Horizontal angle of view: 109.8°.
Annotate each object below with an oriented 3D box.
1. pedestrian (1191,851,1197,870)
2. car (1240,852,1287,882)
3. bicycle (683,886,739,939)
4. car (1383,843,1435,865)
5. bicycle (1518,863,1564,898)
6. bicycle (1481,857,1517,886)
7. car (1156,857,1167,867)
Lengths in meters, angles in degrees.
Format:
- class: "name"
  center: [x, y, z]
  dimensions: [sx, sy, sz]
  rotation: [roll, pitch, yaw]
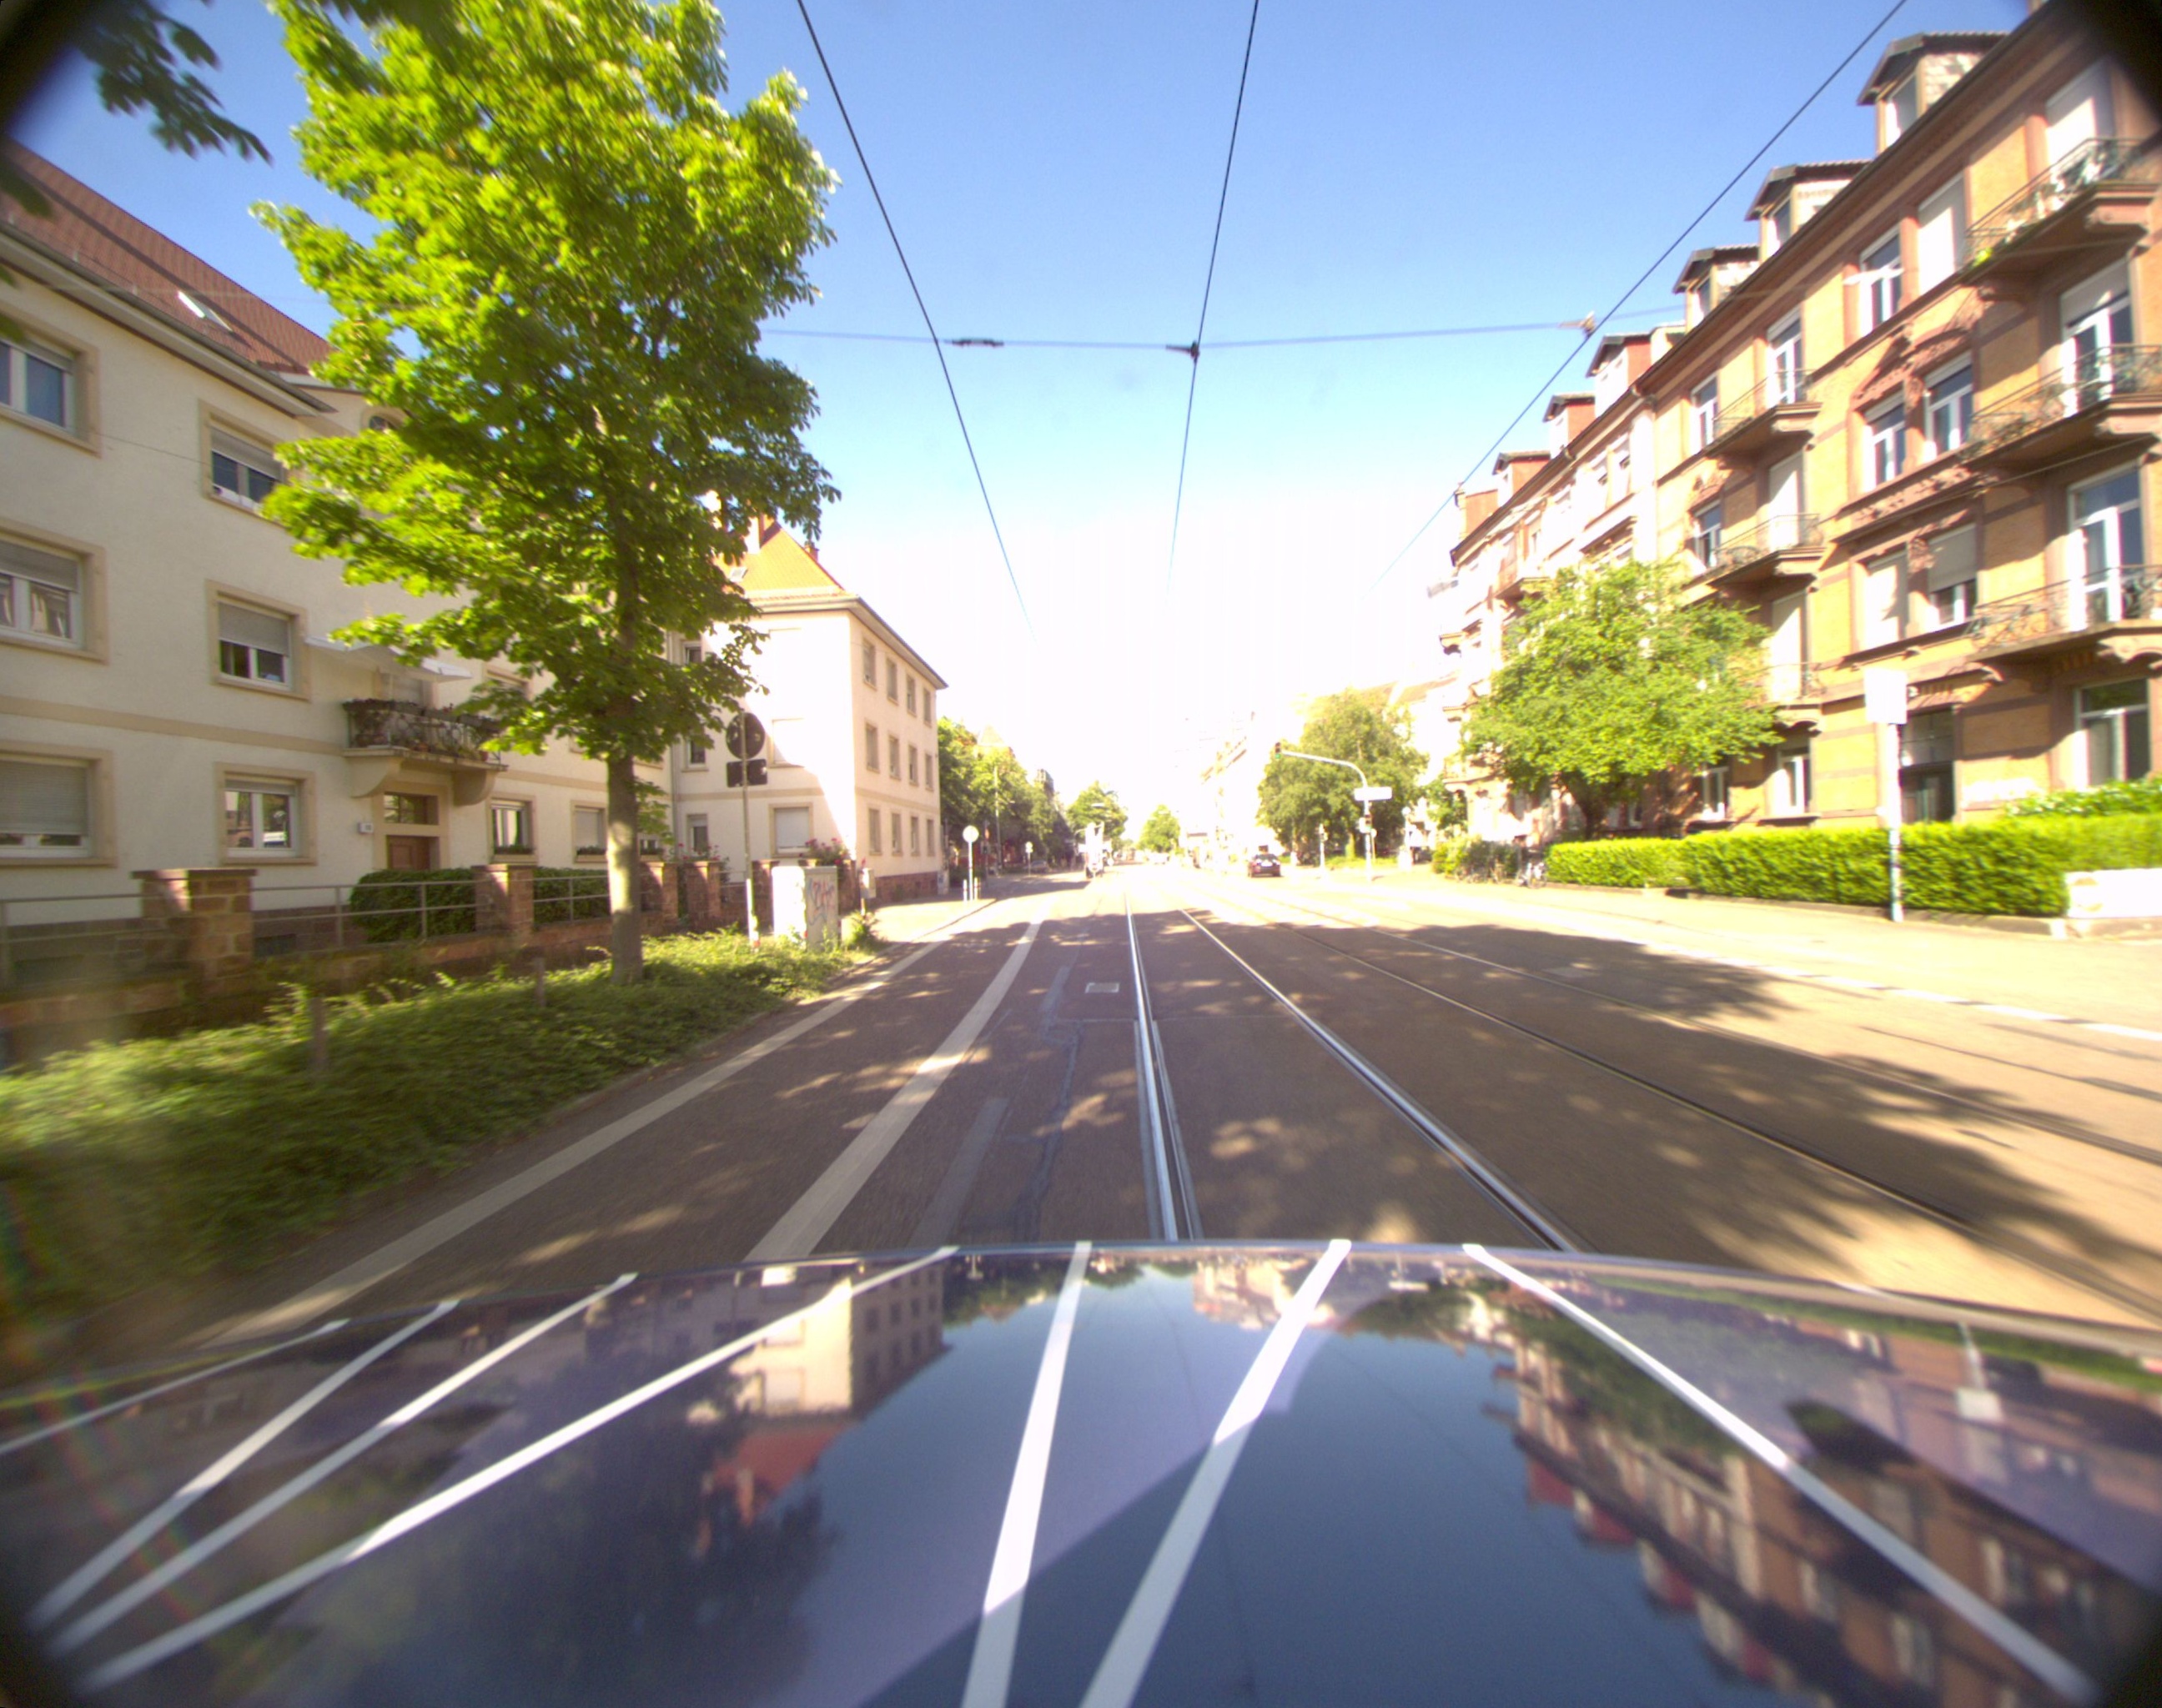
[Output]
- class: "pedestrian"
  center: [10.884, 0.632, 73.116]
  dimensions: [0.466, 1.774, 0.673]
  rotation: [-2, 1, 2]
- class: "car"
  center: [10.819, 0.728, 45.367]
  dimensions: [1.836, 1.509, 4.968]
  rotation: [-4, 0, 3]
- class: "bicycle"
  center: [-8.517, 1.320, 17.544]
  dimensions: [0.460, 1.086, 1.672]
  rotation: [-4, 0, -2]
- class: "car"
  center: [29.737, 0.006, 68.954]
  dimensions: [4.023, 1.686, 1.691]
  rotation: [-4, 0, 11]
- class: "bicycle"
  center: [13.284, 0.739, 21.971]
  dimensions: [0.342, 0.920, 1.944]
  rotation: [-4, 0, 8]
- class: "bicycle"
  center: [14.096, 0.571, 25.652]
  dimensions: [0.342, 0.920, 1.944]
  rotation: [-4, 0, 8]
- class: "car"
  center: [13.688, 1.276, 128.532]
  dimensions: [1.694, 1.531, 3.800]
  rotation: [-3, 0, 7]
